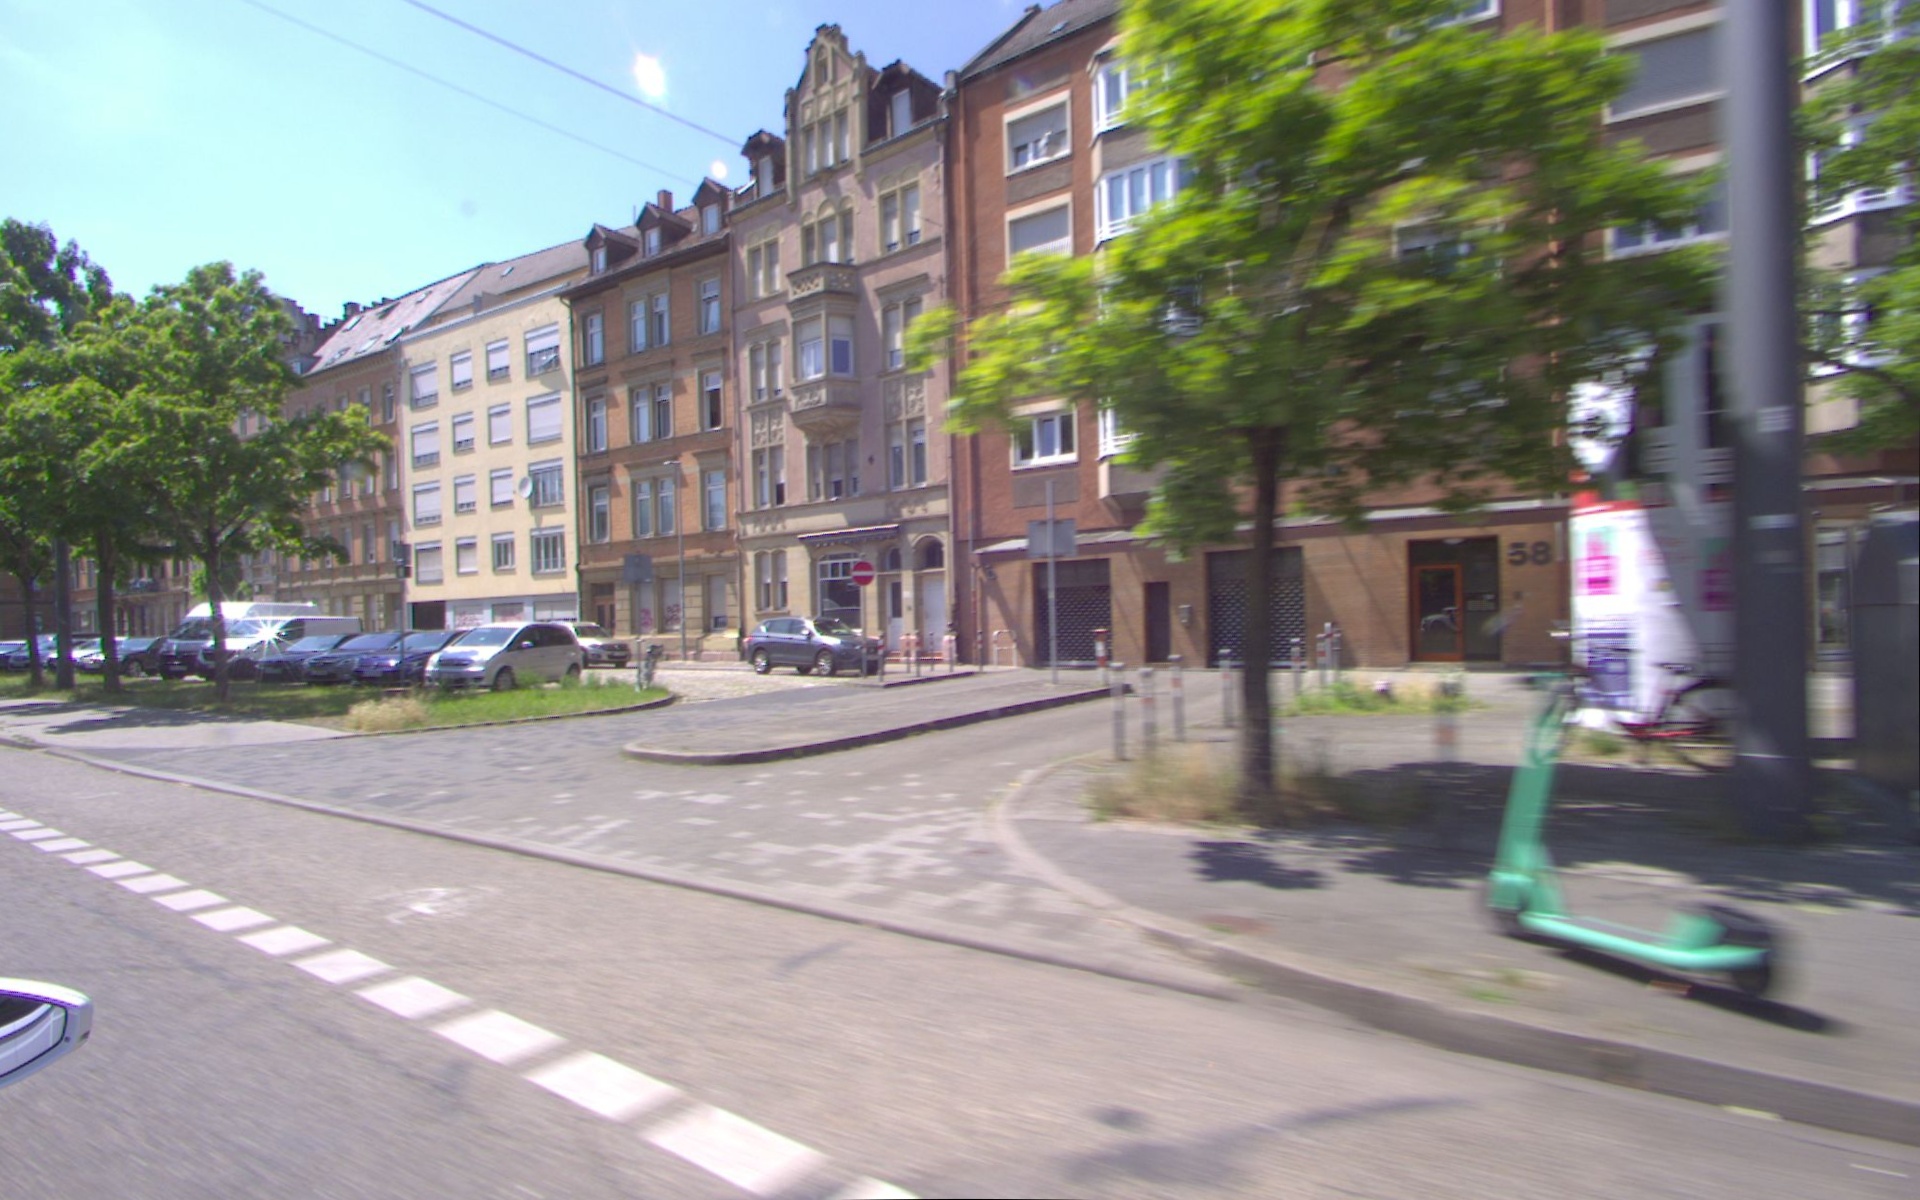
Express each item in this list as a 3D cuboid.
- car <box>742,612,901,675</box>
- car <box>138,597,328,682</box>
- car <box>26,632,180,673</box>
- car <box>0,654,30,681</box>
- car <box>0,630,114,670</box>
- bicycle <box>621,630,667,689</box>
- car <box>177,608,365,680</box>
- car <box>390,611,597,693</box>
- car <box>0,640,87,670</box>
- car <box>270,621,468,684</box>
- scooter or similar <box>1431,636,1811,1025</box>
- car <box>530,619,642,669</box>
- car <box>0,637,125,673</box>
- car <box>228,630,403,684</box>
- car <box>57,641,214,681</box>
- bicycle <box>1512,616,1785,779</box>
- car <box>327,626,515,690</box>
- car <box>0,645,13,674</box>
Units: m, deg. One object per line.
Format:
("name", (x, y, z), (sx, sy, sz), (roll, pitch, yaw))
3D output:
("car", (-3.961, 1.244, 28.156), (4.550, 1.620, 1.984), (-3, -3, 42))
("car", (-23.307, 1.290, 32.469), (2.194, 2.491, 5.555), (-1, -3, -1))
("car", (-32.713, 2.019, 38.427), (1.934, 1.445, 4.696), (-1, -3, -1))
("car", (-48.558, 3.344, 49.079), (1.936, 1.330, 3.999), (-1, -3, 13))
("car", (-40.195, 2.200, 44.240), (1.934, 1.682, 4.001), (-1, -3, 9))
("bicycle", (-6.836, 1.272, 21.616), (0.729, 1.208, 2.354), (0, -3, -23))
("car", (-20.673, 1.341, 30.364), (2.036, 1.997, 4.851), (-1, -3, 6))
("car", (-10.424, 1.180, 22.797), (1.963, 1.652, 4.412), (-1, -3, 13))
("car", (-42.397, 2.456, 44.761), (2.110, 1.330, 4.786), (-1, -3, 13))
("car", (-15.426, 1.375, 26.484), (1.928, 1.515, 4.633), (-1, -3, 11))
("scooter or similar", (2.505, 0.785, 3.903), (0.386, 1.231, 1.173), (-4, 3, -31))
("car", (-13.371, 1.585, 35.787), (3.946, 1.705, 1.815), (-3, -3, 34))
("car", (-37.808, 2.316, 42.273), (1.679, 1.417, 4.003), (-1, -3, 3))
("car", (-17.968, 1.579, 28.150), (1.790, 1.404, 3.999), (-1, -3, 14))
("car", (-29.879, 2.191, 36.499), (1.934, 1.355, 4.435), (-1, -3, 3))
("bicycle", (5.302, 0.737, 7.826), (1.685, 1.167, 0.485), (-2, -2, 32))
("car", (-12.912, 1.385, 24.285), (1.790, 1.417, 3.999), (-1, -3, 14))
("car", (-51.098, 3.066, 50.895), (1.763, 1.488, 4.094), (-1, -3, 8))
